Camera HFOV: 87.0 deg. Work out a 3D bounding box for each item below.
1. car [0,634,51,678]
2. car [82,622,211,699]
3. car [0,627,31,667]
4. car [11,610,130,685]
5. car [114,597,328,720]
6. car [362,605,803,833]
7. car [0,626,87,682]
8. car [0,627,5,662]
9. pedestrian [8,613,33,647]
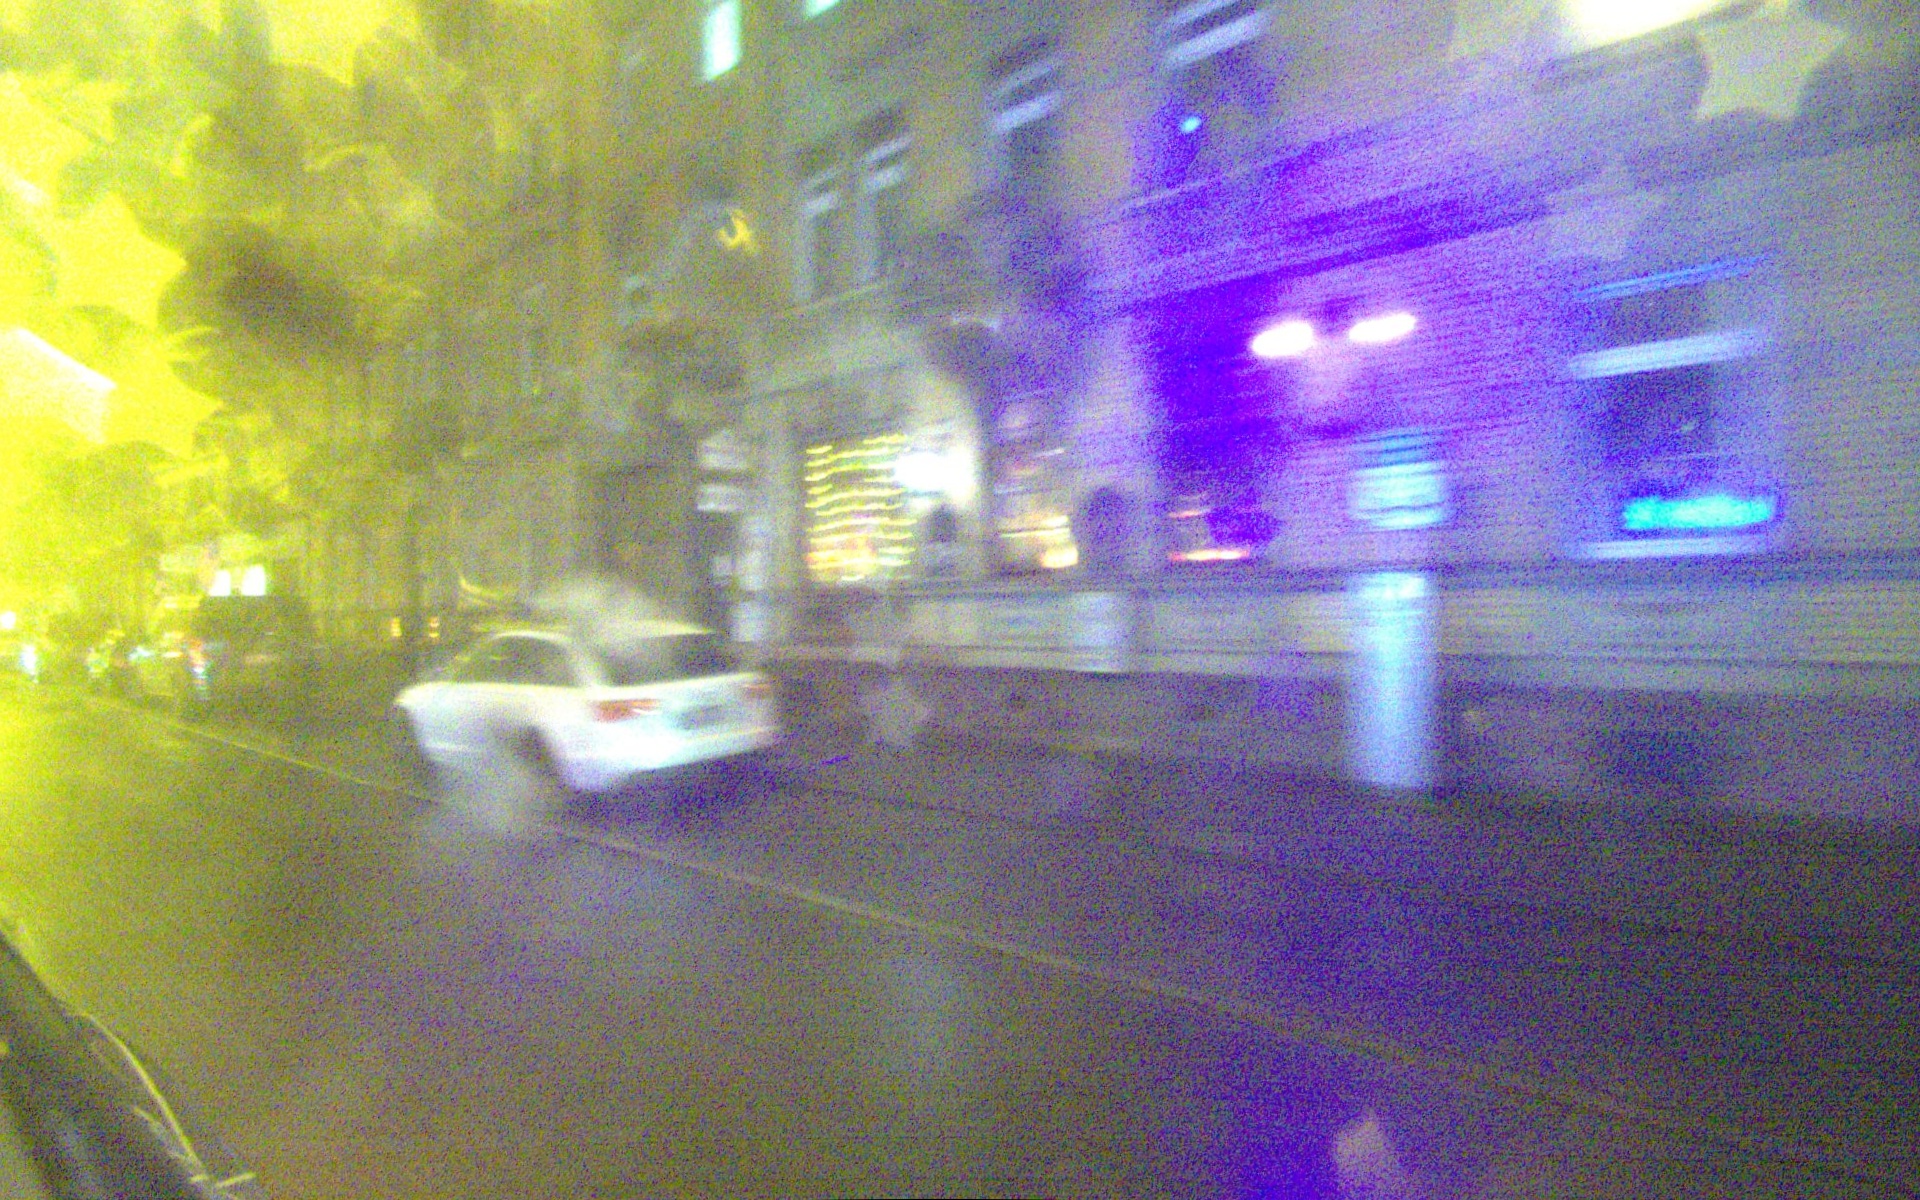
[{"bbox_3d":[-33.270,1.923,35.420,4.553,1.402,1.708,-2,-1,42],"label":"car"},{"bbox_3d":[-17.335,1.229,21.511,3.718,1.471,1.552,-2,-1,42],"label":"car"},{"bbox_3d":[-37.646,1.816,39.444,4.271,1.464,1.708,-2,-1,42],"label":"car"},{"bbox_3d":[-24.211,1.253,27.491,4.827,1.843,1.882,-2,-1,42],"label":"car"},{"bbox_3d":[-12.968,0.933,17.608,5.205,1.843,1.975,-2,-1,42],"label":"car"},{"bbox_3d":[-3.681,0.892,9.321,4.771,1.494,1.749,-2,2,42],"label":"car"},{"bbox_3d":[-28.283,1.618,31.118,3.718,1.587,1.708,-2,-1,42],"label":"car"},{"bbox_3d":[-41.924,1.913,43.120,3.382,1.464,1.512,-2,-1,42],"label":"car"},{"bbox_3d":[-51.656,1.655,55.630,0.629,1.801,0.900,-1,1,42],"label":"pedestrian"}]
